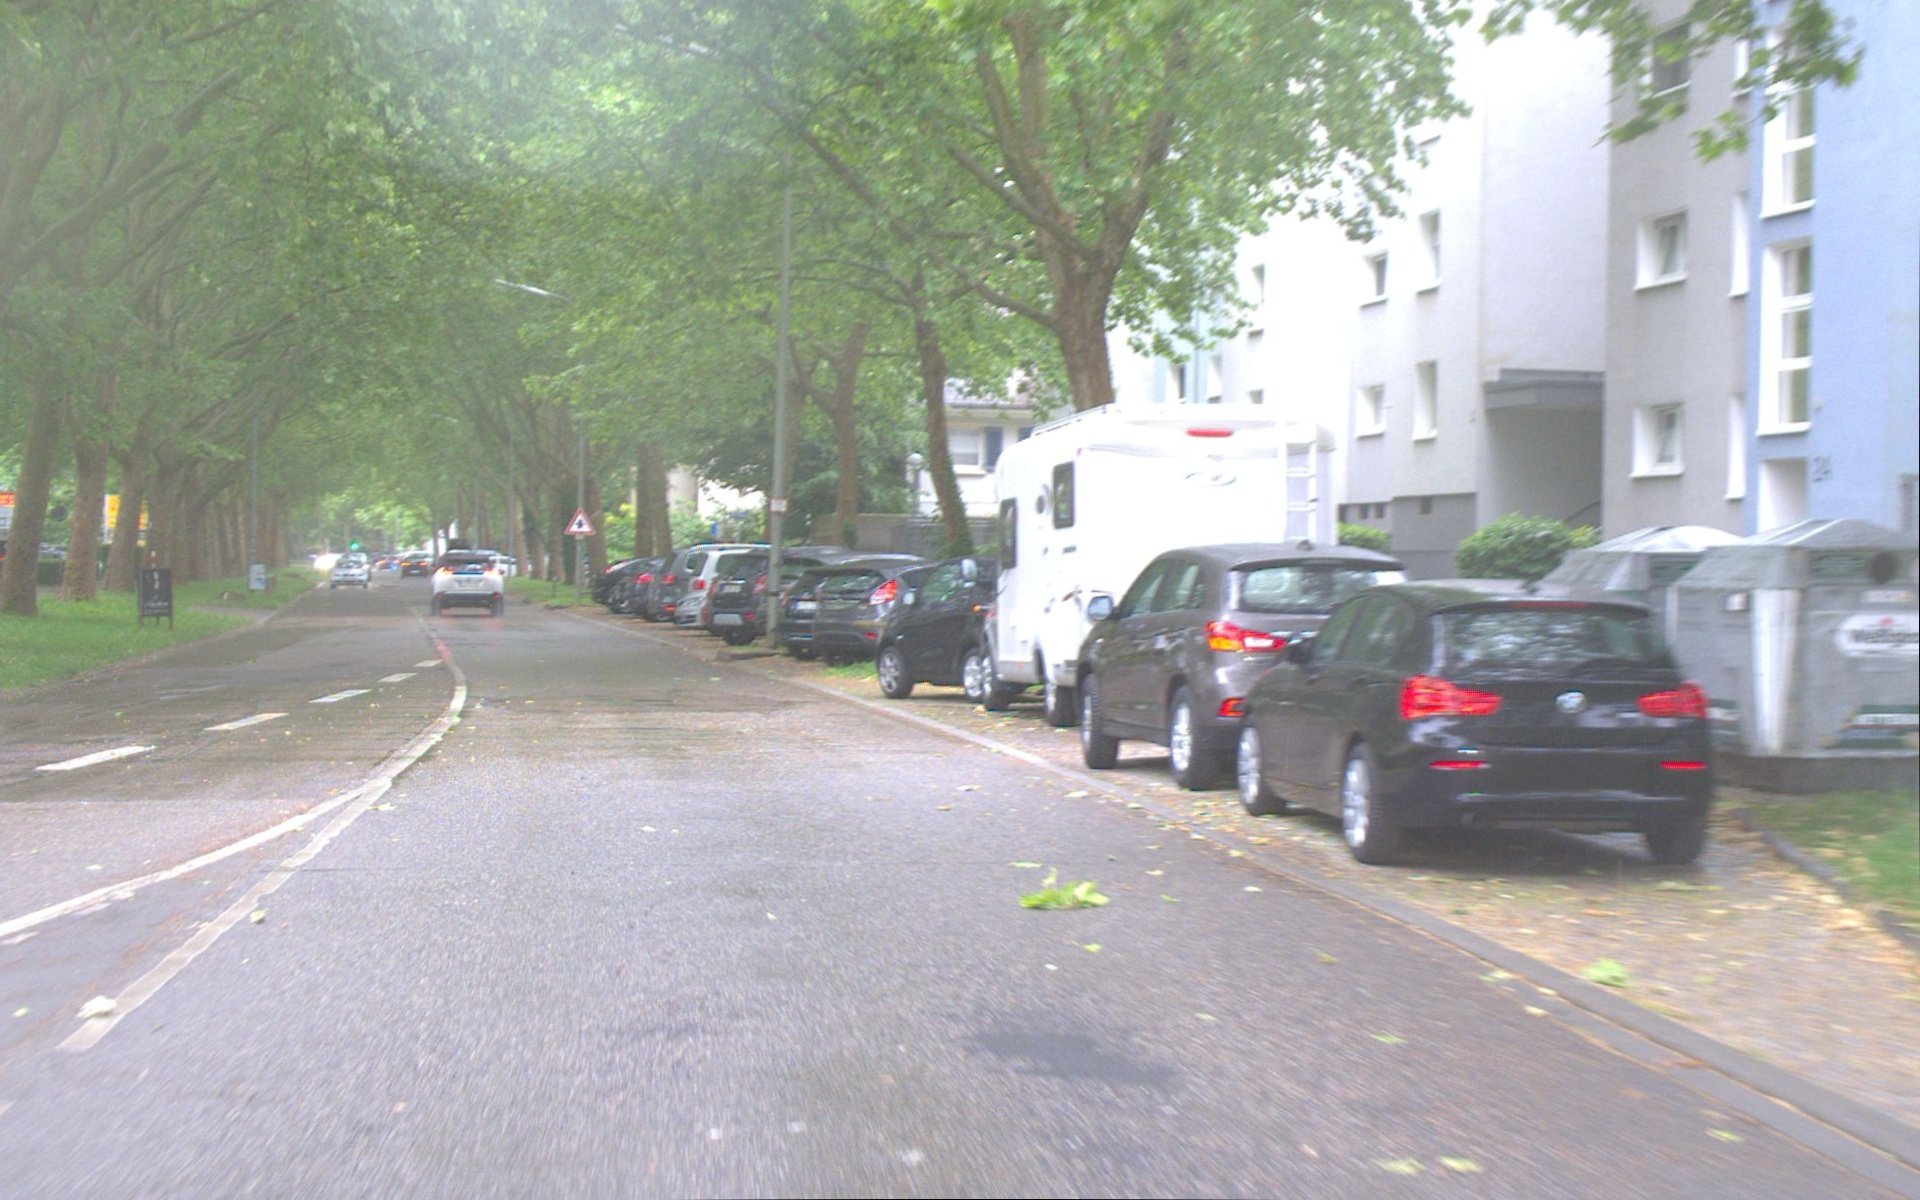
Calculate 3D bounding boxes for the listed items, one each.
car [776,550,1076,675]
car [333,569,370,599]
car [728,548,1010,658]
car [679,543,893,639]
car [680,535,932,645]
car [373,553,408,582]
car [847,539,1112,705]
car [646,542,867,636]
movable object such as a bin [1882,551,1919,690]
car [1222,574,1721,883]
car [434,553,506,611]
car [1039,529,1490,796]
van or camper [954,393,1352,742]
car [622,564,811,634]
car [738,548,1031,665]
[{"bbox_3d":[-0.444,0.179,46.980,3.757,1.596,1.802,1,1,-39],"label":"car"},{"bbox_3d":[-29.073,-0.775,164.370,1.678,1.384,4.550,0,1,-9],"label":"car"},{"bbox_3d":[-1.427,0.052,54.639,3.987,1.596,2.035,1,1,-36],"label":"car"},{"bbox_3d":[-3.424,-0.187,67.269,3.986,1.721,1.801,2,1,-9],"label":"car"},{"bbox_3d":[-2.558,-0.201,57.505,3.856,1.691,1.837,-2,3,-37],"label":"car"},{"bbox_3d":[-28.857,-1.672,174.233,1.705,1.406,3.645,-1,1,-10],"label":"car"},{"bbox_3d":[0.173,0.215,36.930,1.686,1.647,2.947,2,1,-26],"label":"car"},{"bbox_3d":[-4.205,-0.240,70.703,4.336,1.756,1.819,2,1,-9],"label":"car"},{"bbox_3d":[10.662,0.239,35.521,1.212,1.427,1.863,2,1,-27],"label":"movable object such as a bin"},{"bbox_3d":[2.603,0.602,18.458,1.548,1.385,4.150,2,1,-7],"label":"car"},{"bbox_3d":[-12.441,-0.478,87.198,1.705,1.406,3.645,-1,1,-10],"label":"car"},{"bbox_3d":[1.966,0.413,23.662,1.915,1.615,4.455,2,-1,-11],"label":"car"},{"bbox_3d":[1.582,-0.296,31.590,2.318,2.798,6.865,2,0,-8],"label":"van or camper"},{"bbox_3d":[-5.510,-0.032,77.606,4.034,1.436,1.686,-1,1,-12],"label":"car"},{"bbox_3d":[-1.086,0.103,50.533,3.988,1.596,1.802,1,1,-39],"label":"car"}]
